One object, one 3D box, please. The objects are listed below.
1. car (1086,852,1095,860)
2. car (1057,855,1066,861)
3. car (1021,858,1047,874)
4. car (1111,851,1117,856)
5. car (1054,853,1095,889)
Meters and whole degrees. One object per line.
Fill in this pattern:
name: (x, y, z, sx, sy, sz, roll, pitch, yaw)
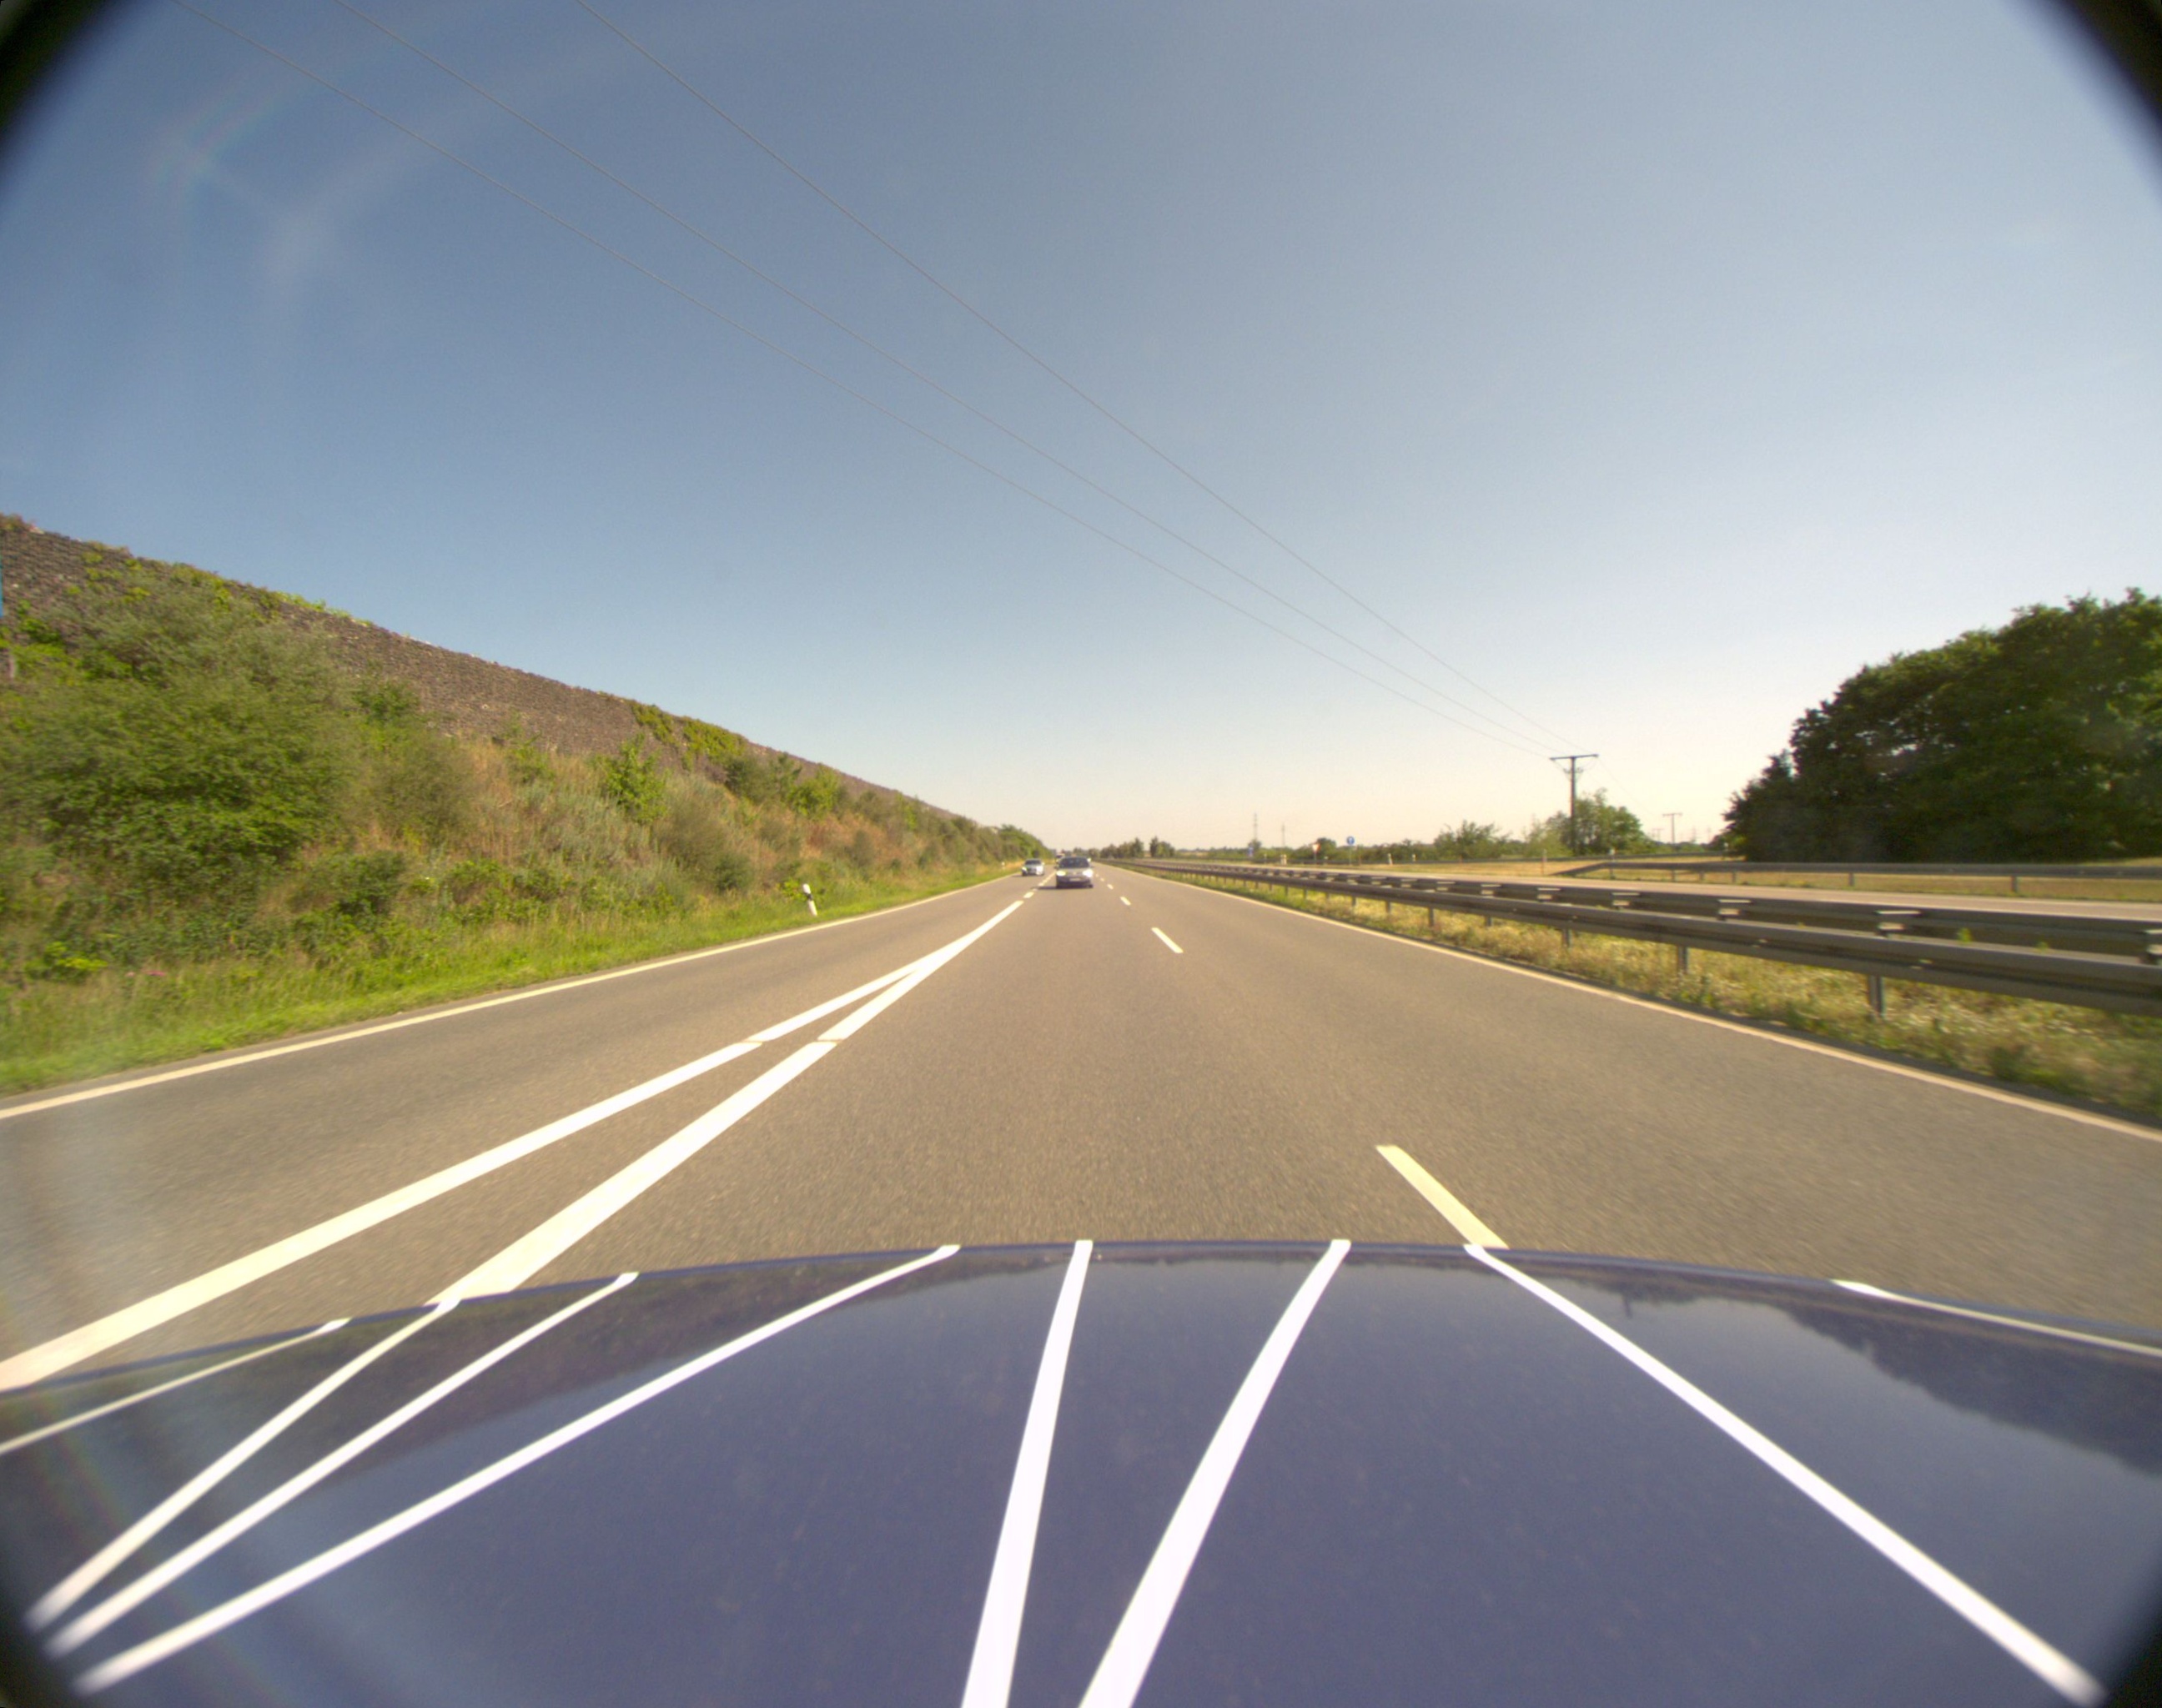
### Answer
car: (2.220, 0.451, 173.482, 1.791, 1.659, 3.999, -2, 0, -3)
car: (-4.076, 0.829, 158.359, 1.790, 1.212, 3.999, -2, 0, -2)
car: (-4.012, 1.005, 65.770, 1.854, 1.212, 4.000, -2, 0, 2)
car: (11.344, -0.146, 261.573, 1.704, 1.476, 4.619, -4, 0, -2)
car: (-0.273, 0.782, 37.809, 1.854, 1.635, 4.000, -2, 0, 2)
